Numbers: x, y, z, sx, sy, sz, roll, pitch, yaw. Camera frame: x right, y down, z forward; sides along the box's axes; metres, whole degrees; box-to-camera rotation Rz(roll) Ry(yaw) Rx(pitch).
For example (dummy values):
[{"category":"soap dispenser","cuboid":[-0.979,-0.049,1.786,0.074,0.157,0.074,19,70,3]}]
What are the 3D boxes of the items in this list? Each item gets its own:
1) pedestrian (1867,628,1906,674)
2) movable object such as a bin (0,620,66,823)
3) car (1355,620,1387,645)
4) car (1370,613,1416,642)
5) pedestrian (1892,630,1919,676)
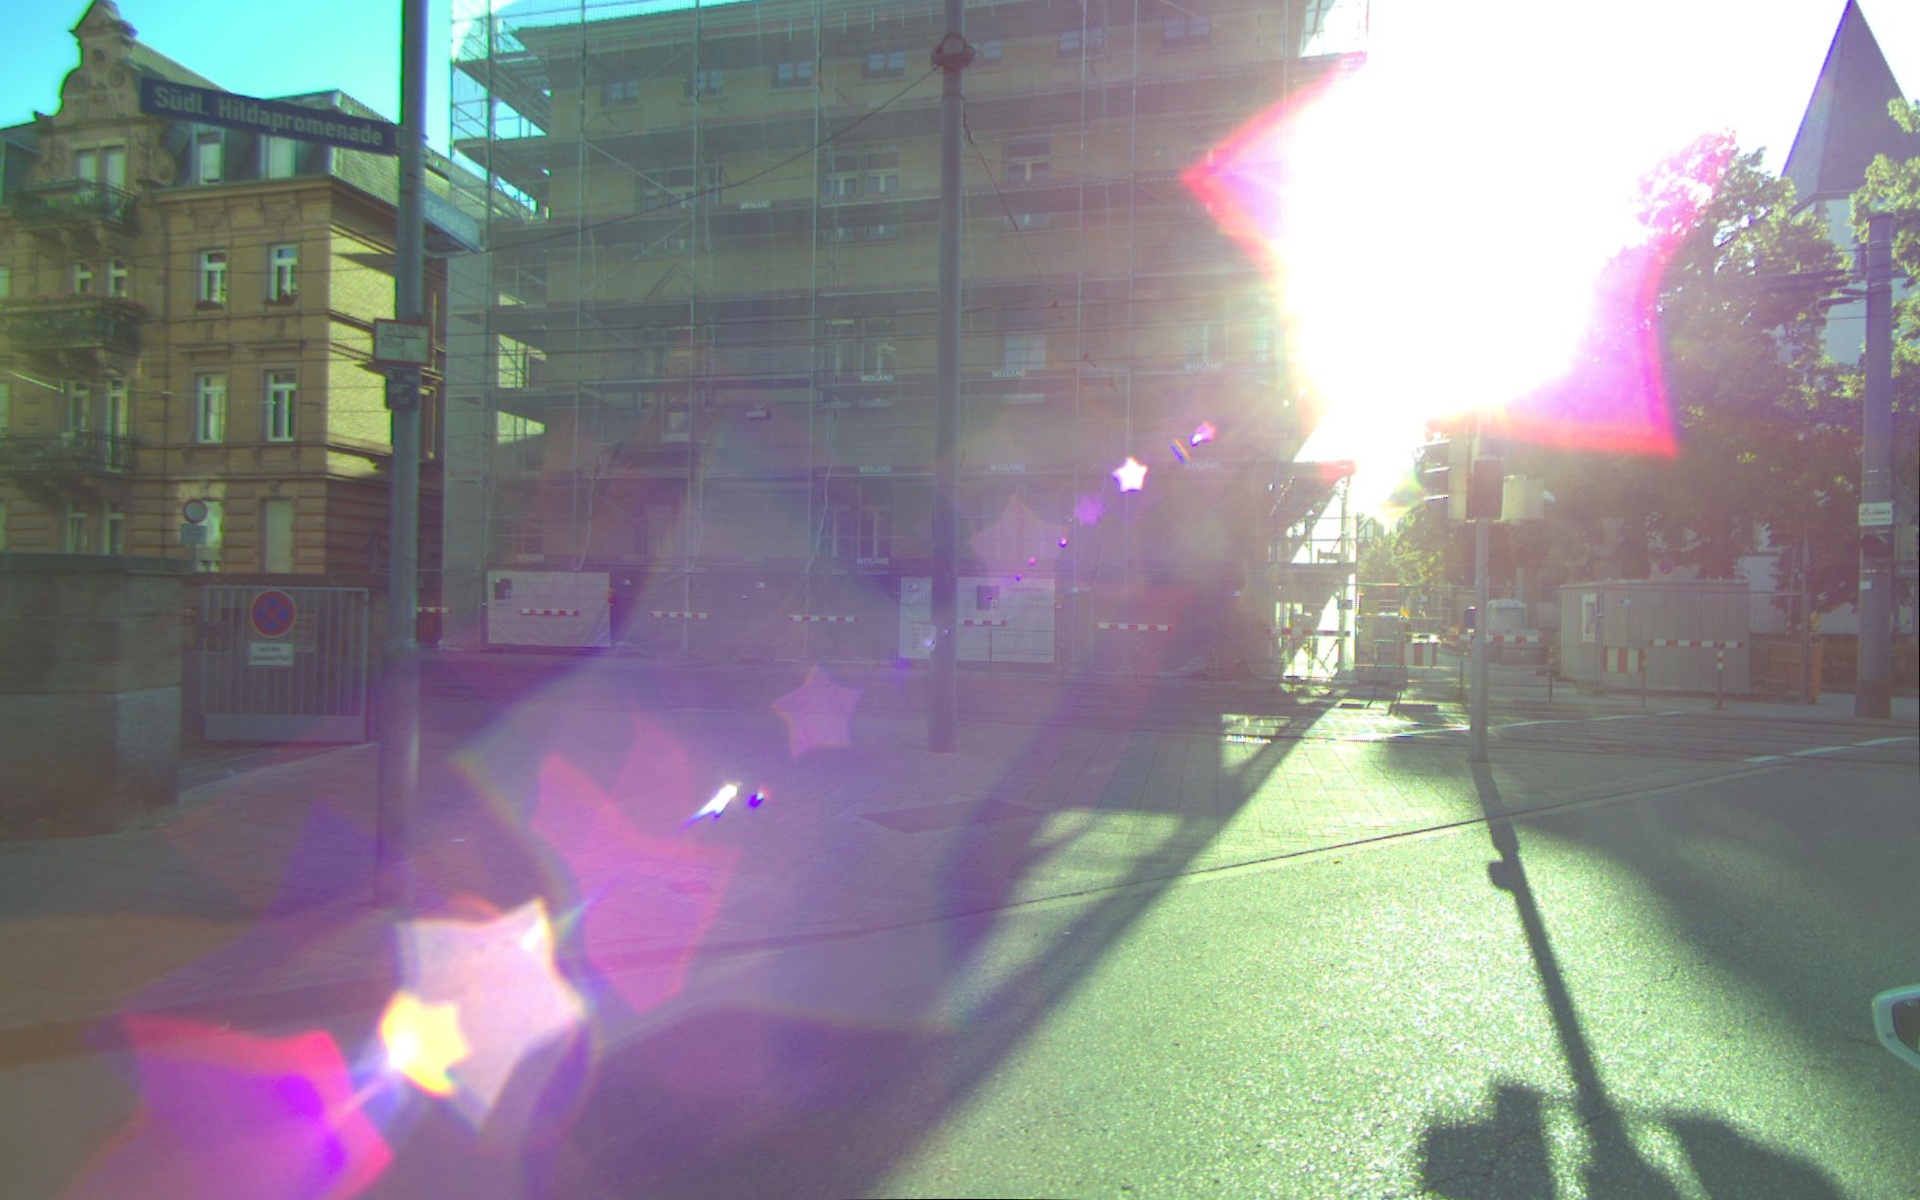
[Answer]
[{"category":"pedestrian","cuboid":[25.667,1.416,27.834,0.714,1.249,0.550,1,0,-24]},{"category":"movable object such as a bin","cuboid":[-7.826,0.862,7.141,1.883,1.447,1.187,1,0,3]},{"category":"car","cuboid":[28.847,2.260,70.579,1.854,1.677,4.221,1,-1,19]},{"category":"car","cuboid":[27.016,1.687,62.842,1.853,1.677,4.223,1,-1,13]},{"category":"pedestrian","cuboid":[25.923,1.429,27.312,0.871,1.211,0.550,1,0,-24]}]
